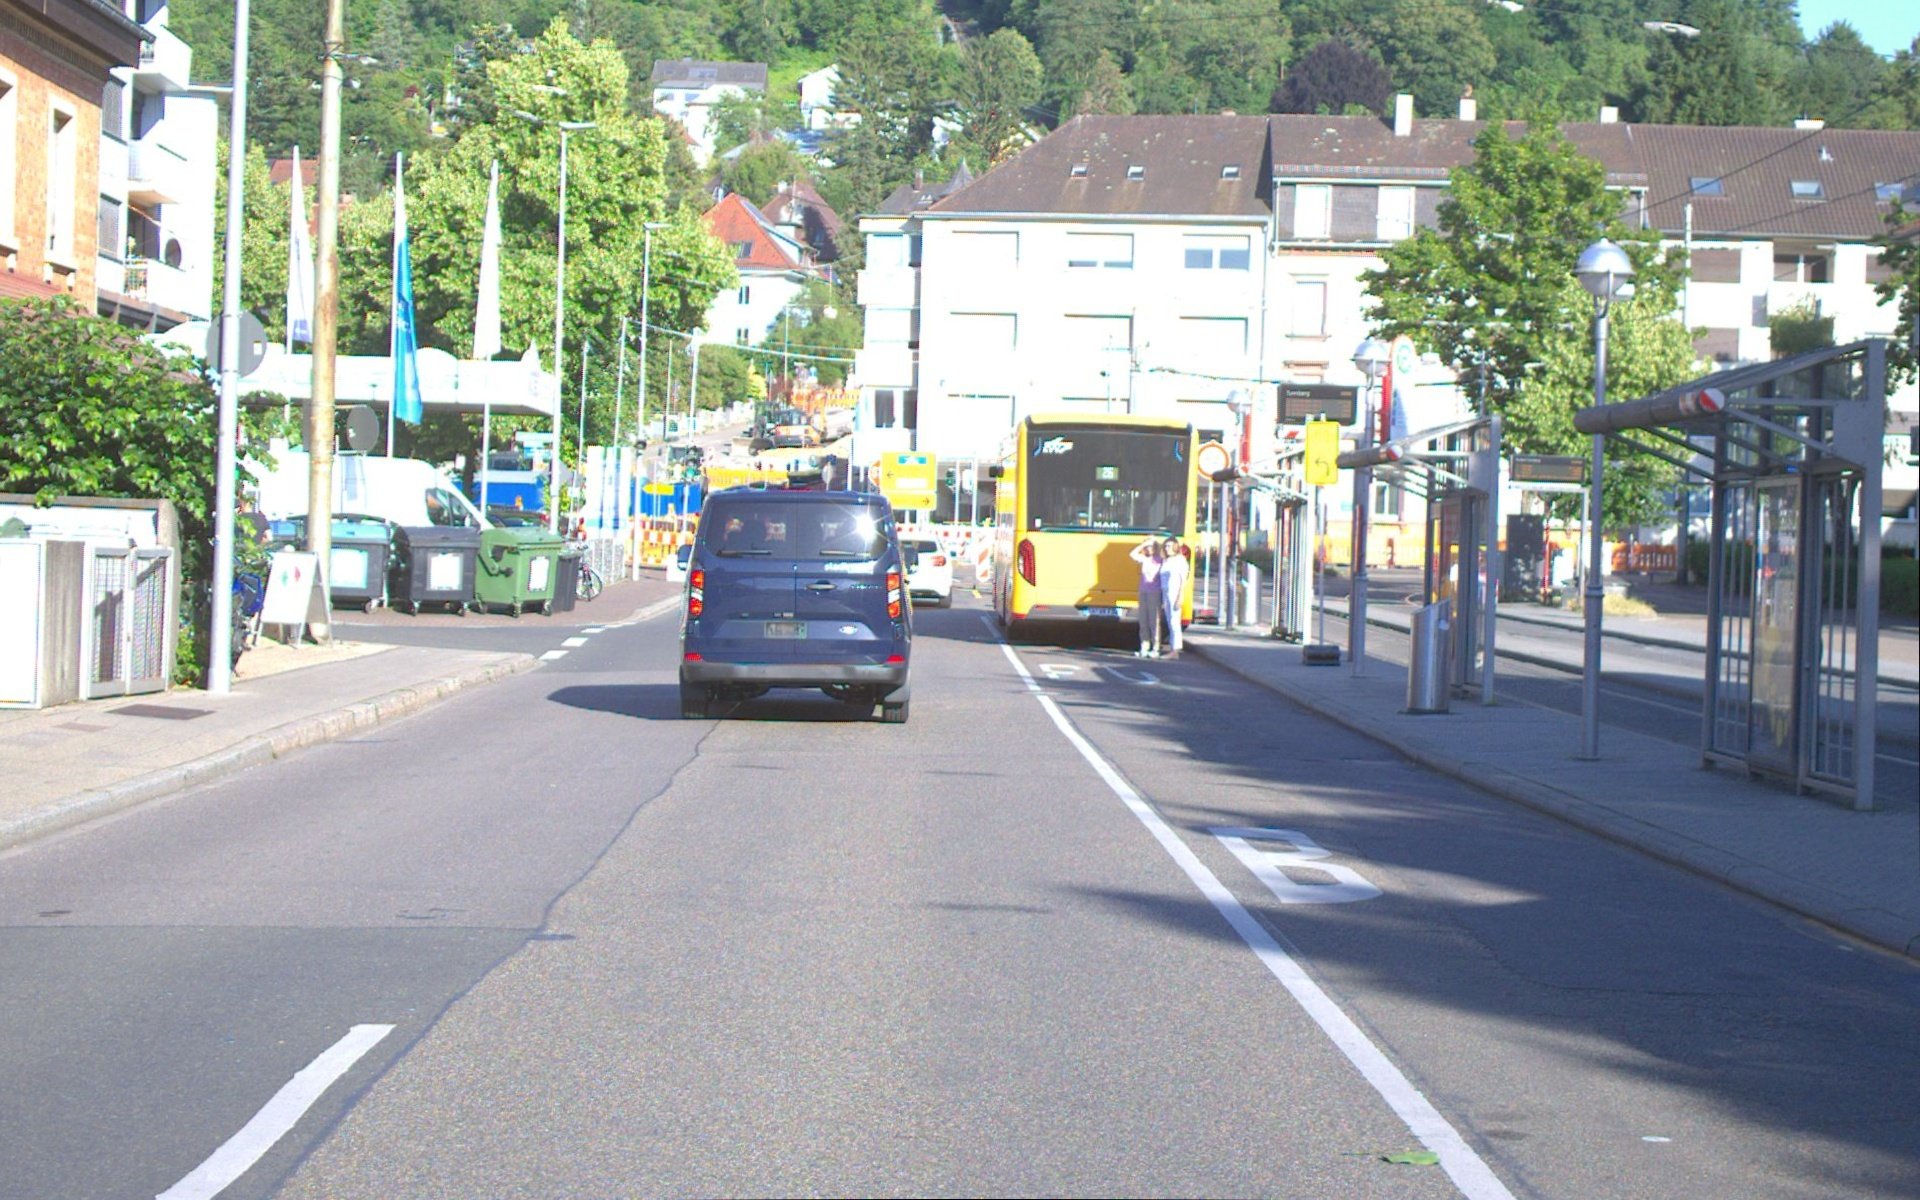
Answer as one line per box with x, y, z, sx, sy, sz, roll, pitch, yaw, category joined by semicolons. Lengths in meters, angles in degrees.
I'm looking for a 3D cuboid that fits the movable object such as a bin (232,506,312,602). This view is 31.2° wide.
-11.153;-0.748;55.750;1.177;1.477;0.704;1;4;-5;movable object such as a bin

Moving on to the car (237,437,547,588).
-10.171;-1.562;61.507;5.054;2.461;2.109;2;1;-22;car

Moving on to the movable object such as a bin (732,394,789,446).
-10.978;-9.911;189.318;2.192;2.681;3.998;2;2;11;movable object such as a bin

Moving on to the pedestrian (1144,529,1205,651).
2.851;-0.132;45.689;0.544;1.607;0.549;1;1;-38;pedestrian

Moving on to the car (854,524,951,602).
-1.103;-0.736;66.920;1.794;1.405;4.000;2;1;-1;car

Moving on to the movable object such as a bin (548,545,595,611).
-6.651;-0.385;58.850;0.640;1.065;0.580;3;5;12;movable object such as a bin

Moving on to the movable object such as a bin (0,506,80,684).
-8.002;-0.058;28.279;1.307;1.425;0.992;1;1;-4;movable object such as a bin

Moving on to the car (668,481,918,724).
-1.418;-0.031;30.958;2.062;2.007;5.000;0;1;-1;car

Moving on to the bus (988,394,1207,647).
1.933;-1.270;53.144;2.688;3.404;12.020;2;2;-1;bus

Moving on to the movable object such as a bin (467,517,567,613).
-7.359;-0.596;57.109;1.056;1.477;1.310;4;5;28;movable object such as a bin

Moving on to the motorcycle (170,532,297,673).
-6.988;0.003;33.166;0.839;1.278;2.233;2;1;-4;motorcycle

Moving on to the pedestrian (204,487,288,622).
-10.053;-0.648;48.404;0.819;1.861;0.793;3;2;41;pedestrian

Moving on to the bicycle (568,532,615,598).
-6.855;-0.657;63.870;0.723;1.174;1.781;1;1;-10;bicycle

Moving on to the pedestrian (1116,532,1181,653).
2.531;-0.102;46.101;0.544;1.607;0.636;1;1;-38;pedestrian

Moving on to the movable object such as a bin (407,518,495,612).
-8.318;-0.577;56.196;1.218;1.477;0.704;-1;5;-29;movable object such as a bin

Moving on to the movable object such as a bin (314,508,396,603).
-9.823;-0.729;55.847;1.218;1.477;0.704;1;4;-5;movable object such as a bin
